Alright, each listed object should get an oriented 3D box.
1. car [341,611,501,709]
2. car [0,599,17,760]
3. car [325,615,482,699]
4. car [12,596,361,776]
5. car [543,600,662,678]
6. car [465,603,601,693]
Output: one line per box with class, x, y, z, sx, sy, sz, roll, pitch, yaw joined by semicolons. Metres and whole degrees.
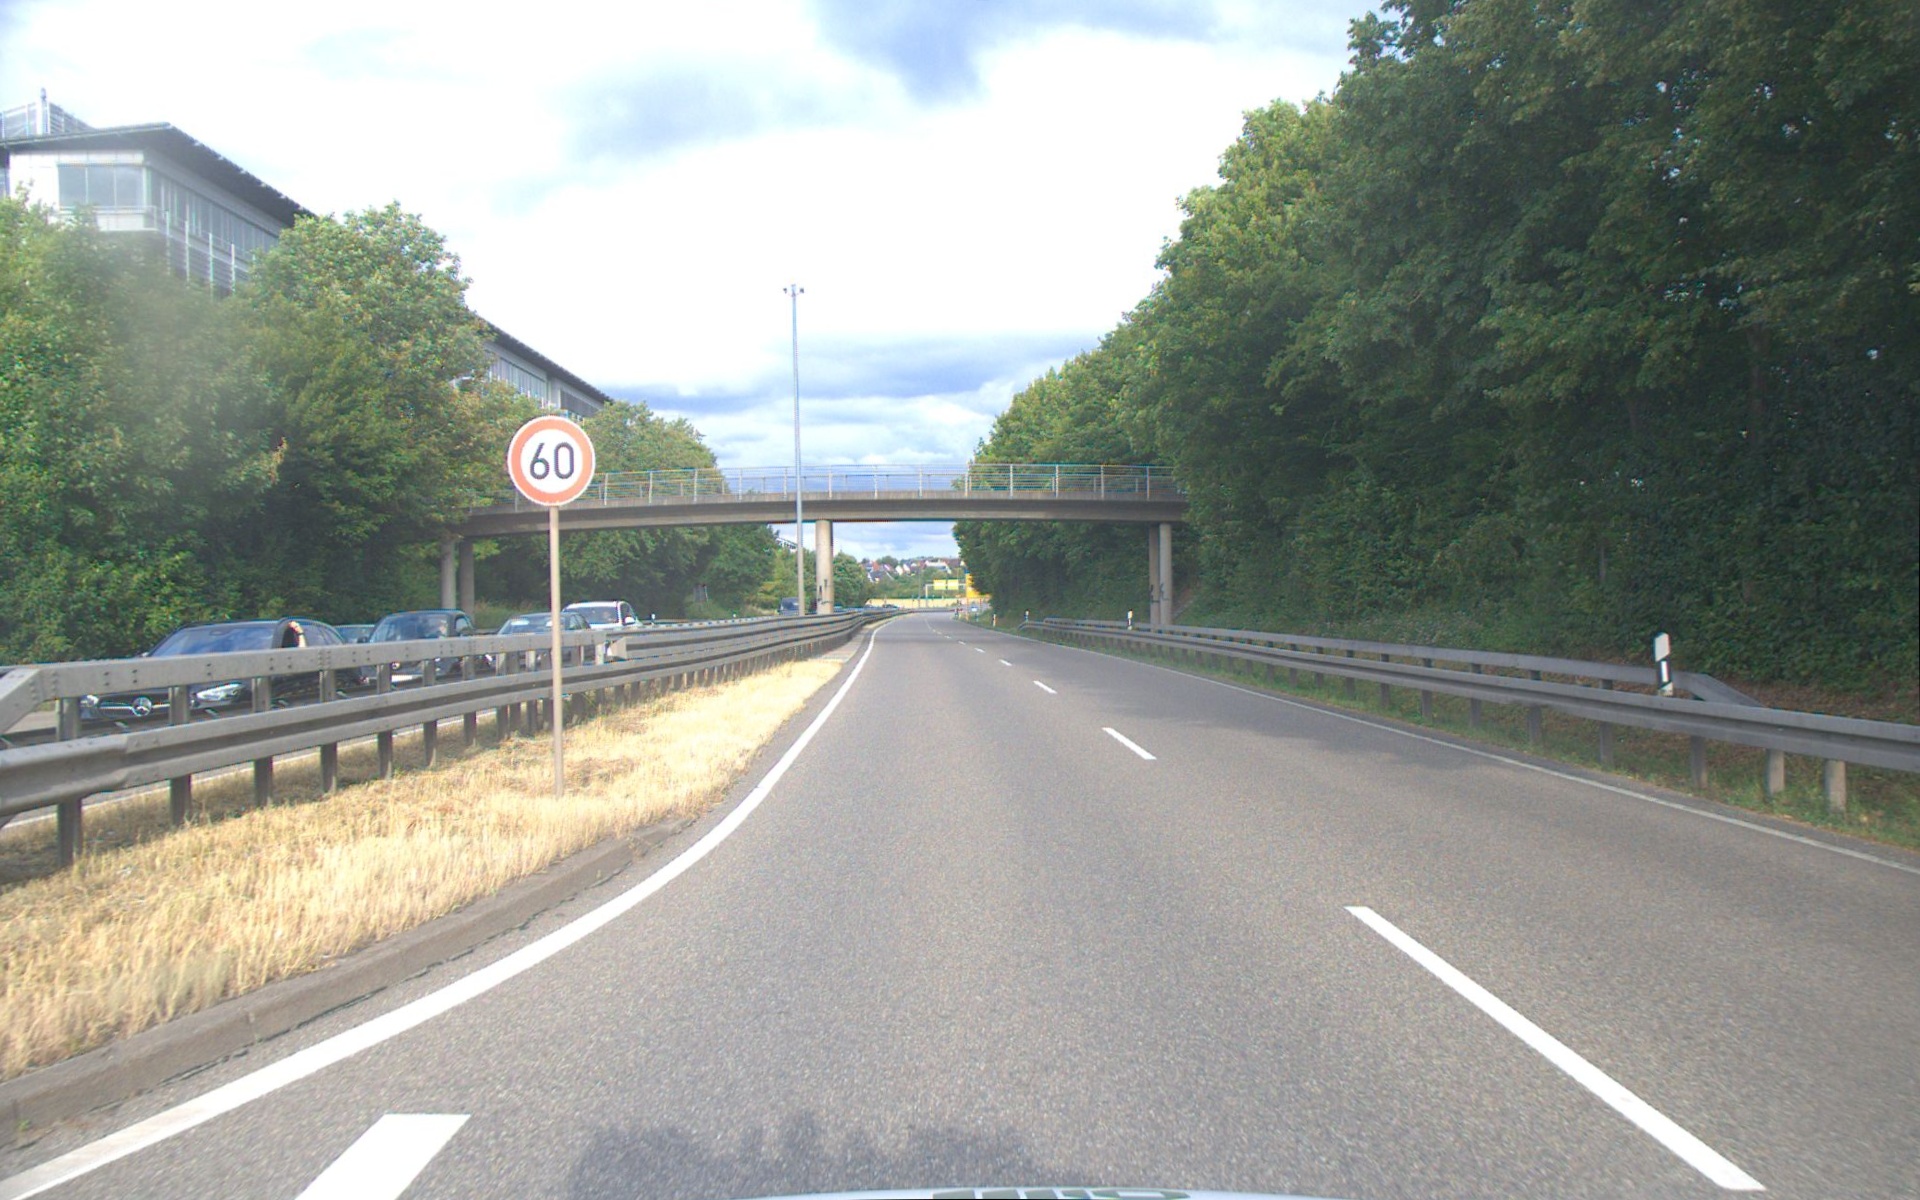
car;-8.677;0.930;26.893;1.524;1.384;3.462;-1;1;-2
car;-11.612;0.934;16.131;1.993;1.780;4.845;-3;0;0
car;-11.427;1.125;34.279;1.797;1.563;4.396;-1;0;-1
car;-8.092;0.817;17.814;1.678;1.617;4.552;-2;0;-2
car;-8.399;0.877;39.238;1.786;1.612;4.789;-4;0;-2
car;-8.160;0.878;31.878;1.684;1.492;3.733;-3;1;-2
